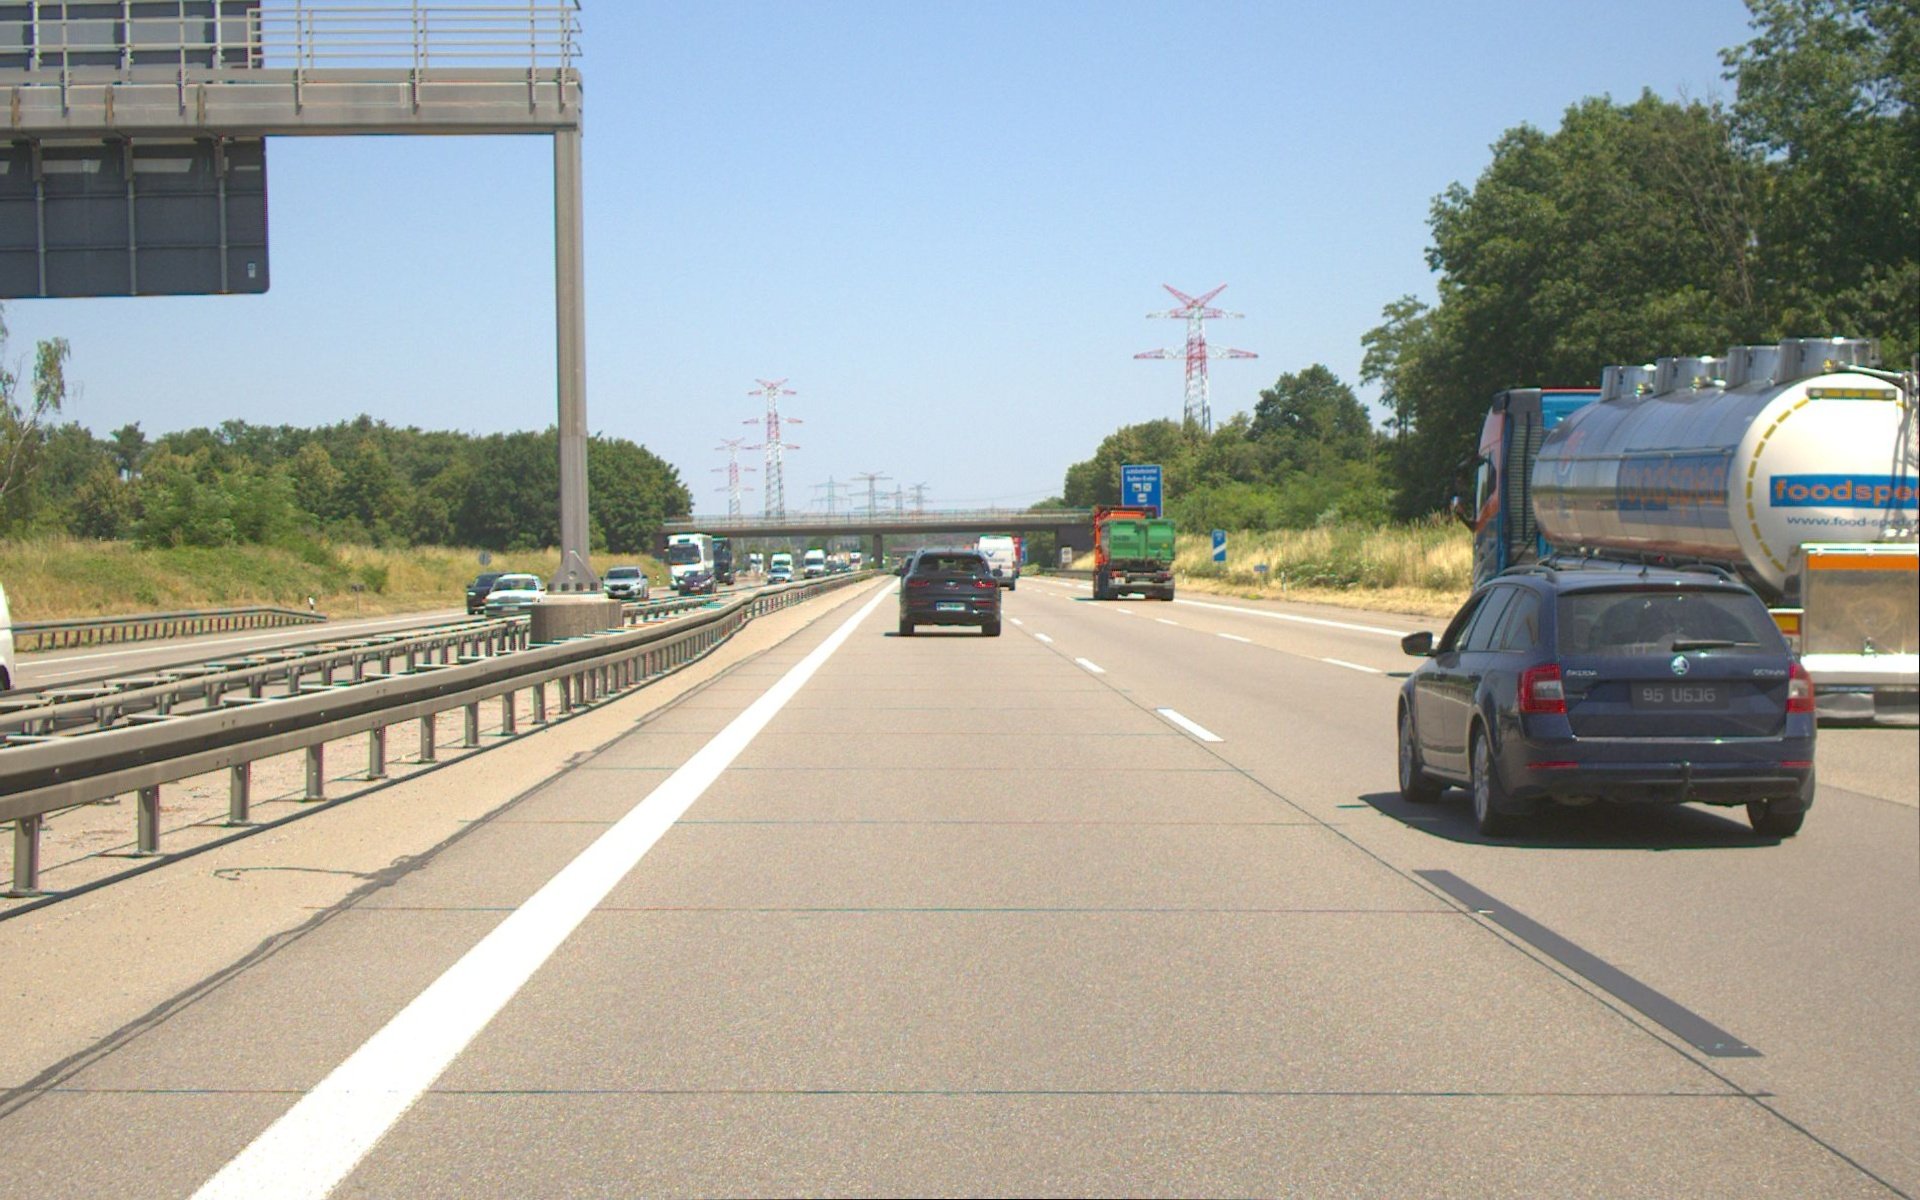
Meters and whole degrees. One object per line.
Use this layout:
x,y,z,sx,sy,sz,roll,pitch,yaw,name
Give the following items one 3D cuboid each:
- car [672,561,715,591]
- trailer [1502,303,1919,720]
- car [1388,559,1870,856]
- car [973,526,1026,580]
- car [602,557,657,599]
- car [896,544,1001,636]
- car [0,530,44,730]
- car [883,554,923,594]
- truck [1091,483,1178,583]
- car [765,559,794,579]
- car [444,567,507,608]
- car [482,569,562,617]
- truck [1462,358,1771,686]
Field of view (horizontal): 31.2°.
-14.320,-1.301,185.256,1.962,1.520,5.291,-2,1,-1,car
8.035,-0.862,36.639,2.529,3.721,11.549,1,1,-1,trailer
3.658,0.521,19.554,1.801,1.478,4.272,1,1,-1,car
2.019,-2.427,178.232,2.621,2.750,6.096,1,1,0,car
-14.519,-0.988,151.128,1.962,1.712,5.291,-2,1,-1,car
-0.249,-0.208,68.078,1.993,1.744,4.000,1,1,-1,car
-9.757,0.320,30.632,1.831,1.848,5.237,-2,1,-1,car
-2.614,-1.199,157.379,1.794,1.744,4.000,1,1,-1,car
6.855,-2.633,136.966,2.681,3.785,12.479,1,1,0,truck
-13.373,-2.298,254.706,1.962,1.424,5.291,-2,1,-1,car
-19.332,-0.519,137.328,1.831,1.548,4.950,-2,1,-1,car
-13.783,-0.236,108.292,1.806,1.391,4.480,-2,1,1,car
7.965,-0.931,42.434,2.529,3.721,6.099,1,1,-1,truck
